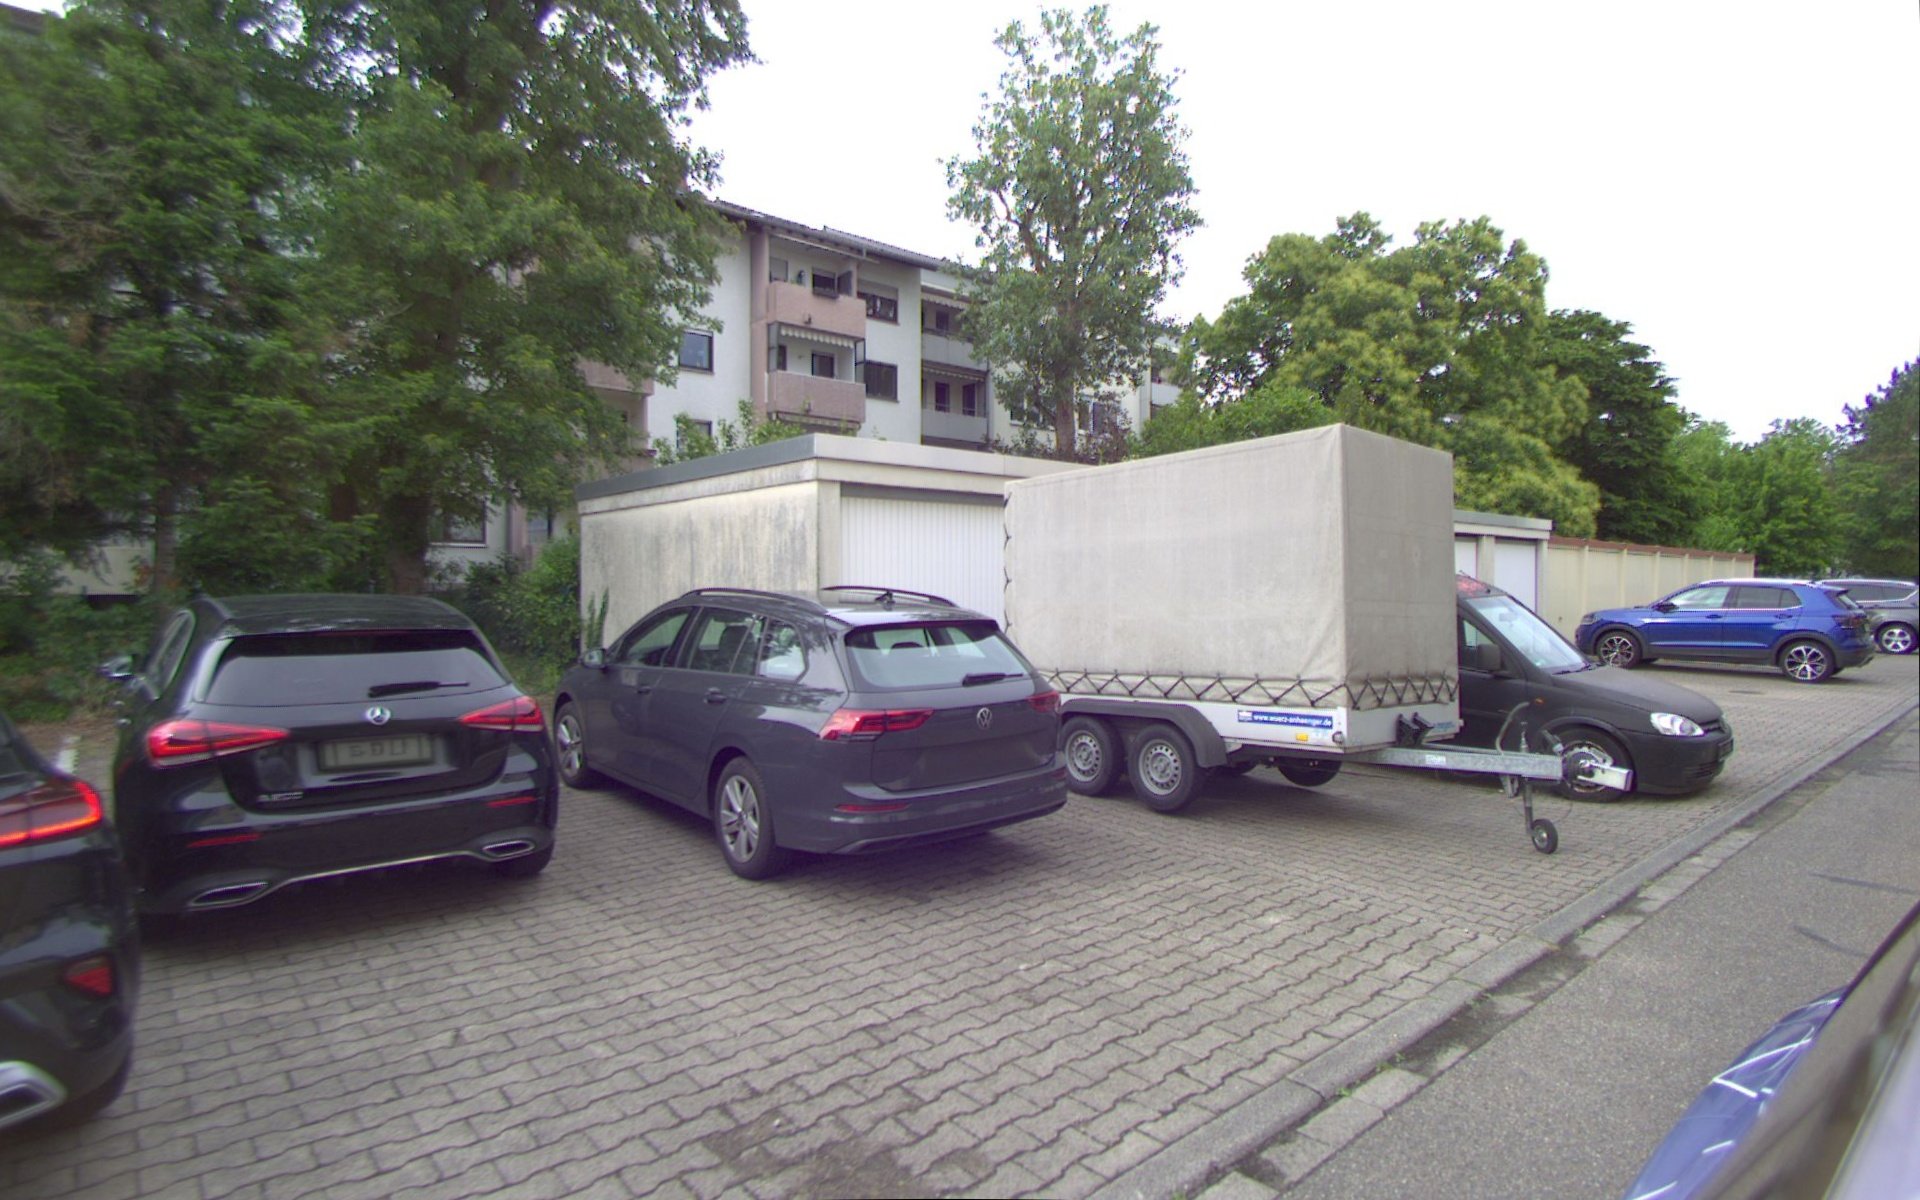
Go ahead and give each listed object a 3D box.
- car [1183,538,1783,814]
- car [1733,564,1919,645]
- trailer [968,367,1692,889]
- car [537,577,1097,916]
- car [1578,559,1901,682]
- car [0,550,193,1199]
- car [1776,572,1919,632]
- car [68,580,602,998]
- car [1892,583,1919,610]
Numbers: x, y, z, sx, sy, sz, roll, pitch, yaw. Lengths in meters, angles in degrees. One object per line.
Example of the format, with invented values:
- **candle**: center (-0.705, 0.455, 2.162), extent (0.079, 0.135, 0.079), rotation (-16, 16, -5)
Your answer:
- **car**: center (4.384, 0.408, 9.060), extent (1.965, 1.824, 4.319), rotation (0, 3, -41)
- **car**: center (21.614, 0.067, 24.564), extent (1.965, 1.748, 4.203), rotation (0, 3, -41)
- **trailer**: center (2.279, 0.115, 7.349), extent (1.908, 2.557, 4.618), rotation (0, 0, -40)
- **car**: center (-1.204, 0.592, 6.485), extent (1.584, 1.467, 4.135), rotation (-1, 1, -41)
- **car**: center (13.042, 0.237, 17.117), extent (1.965, 1.724, 3.995), rotation (0, 3, -41)
- **car**: center (-4.059, 0.622, 2.855), extent (3.976, 1.571, 1.975), rotation (3, 3, 36)
- **car**: center (27.466, 0.045, 30.428), extent (1.902, 1.605, 4.296), rotation (0, 3, -42)
- **car**: center (-3.641, 0.629, 5.752), extent (1.880, 1.467, 4.006), rotation (-1, 1, -38)
- **car**: center (54.381, -0.169, 55.942), extent (1.757, 1.503, 4.099), rotation (-1, 1, -42)
